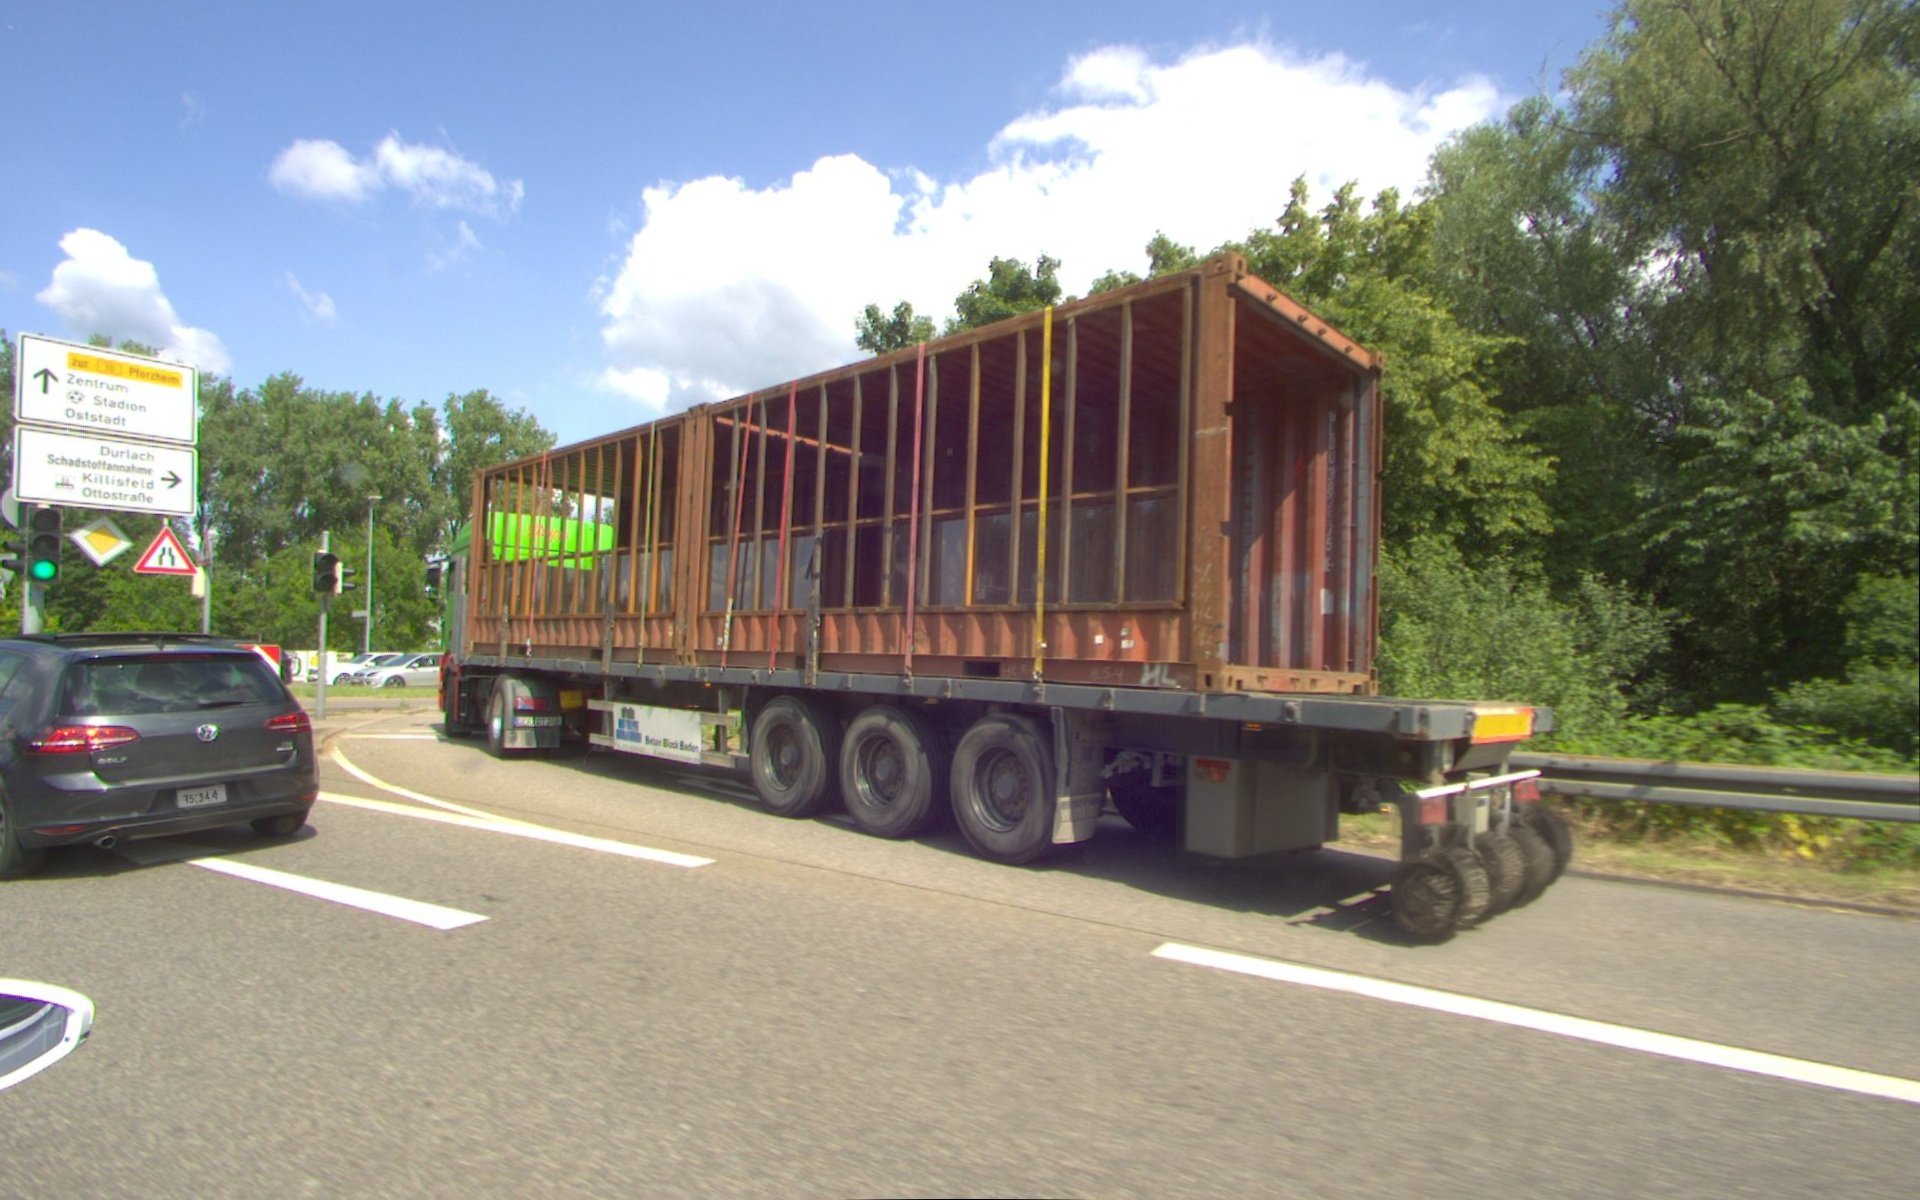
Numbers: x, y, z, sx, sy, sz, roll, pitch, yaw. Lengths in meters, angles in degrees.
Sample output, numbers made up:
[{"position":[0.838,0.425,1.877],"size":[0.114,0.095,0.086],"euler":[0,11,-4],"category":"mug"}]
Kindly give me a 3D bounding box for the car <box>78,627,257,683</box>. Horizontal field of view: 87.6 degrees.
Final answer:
[{"position":[-25.990,1.848,32.984],"size":[1.810,1.665,4.200],"euler":[0,-4,31],"category":"car"}]

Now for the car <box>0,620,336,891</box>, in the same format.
[{"position":[-6.423,0.921,7.218],"size":[3.814,1.497,1.641],"euler":[-1,-2,30],"category":"car"}]

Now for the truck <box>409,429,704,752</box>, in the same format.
[{"position":[-6.436,0.123,15.434],"size":[2.843,3.949,5.842],"euler":[5,-5,-34],"category":"truck"}]

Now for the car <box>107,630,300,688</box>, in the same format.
[{"position":[-22.856,1.836,30.441],"size":[1.818,1.636,4.279],"euler":[-1,-5,31],"category":"car"}]

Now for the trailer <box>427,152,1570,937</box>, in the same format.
[{"position":[-1.657,-0.007,10.651],"size":[13.701,3.937,2.627],"euler":[-2,-6,43],"category":"trailer"}]

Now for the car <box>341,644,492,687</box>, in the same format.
[{"position":[-19.415,2.393,35.988],"size":[1.622,1.392,4.526],"euler":[0,-4,31],"category":"car"}]

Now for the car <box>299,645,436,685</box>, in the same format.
[{"position":[-22.538,2.514,38.228],"size":[1.622,1.392,4.200],"euler":[0,-4,31],"category":"car"}]
